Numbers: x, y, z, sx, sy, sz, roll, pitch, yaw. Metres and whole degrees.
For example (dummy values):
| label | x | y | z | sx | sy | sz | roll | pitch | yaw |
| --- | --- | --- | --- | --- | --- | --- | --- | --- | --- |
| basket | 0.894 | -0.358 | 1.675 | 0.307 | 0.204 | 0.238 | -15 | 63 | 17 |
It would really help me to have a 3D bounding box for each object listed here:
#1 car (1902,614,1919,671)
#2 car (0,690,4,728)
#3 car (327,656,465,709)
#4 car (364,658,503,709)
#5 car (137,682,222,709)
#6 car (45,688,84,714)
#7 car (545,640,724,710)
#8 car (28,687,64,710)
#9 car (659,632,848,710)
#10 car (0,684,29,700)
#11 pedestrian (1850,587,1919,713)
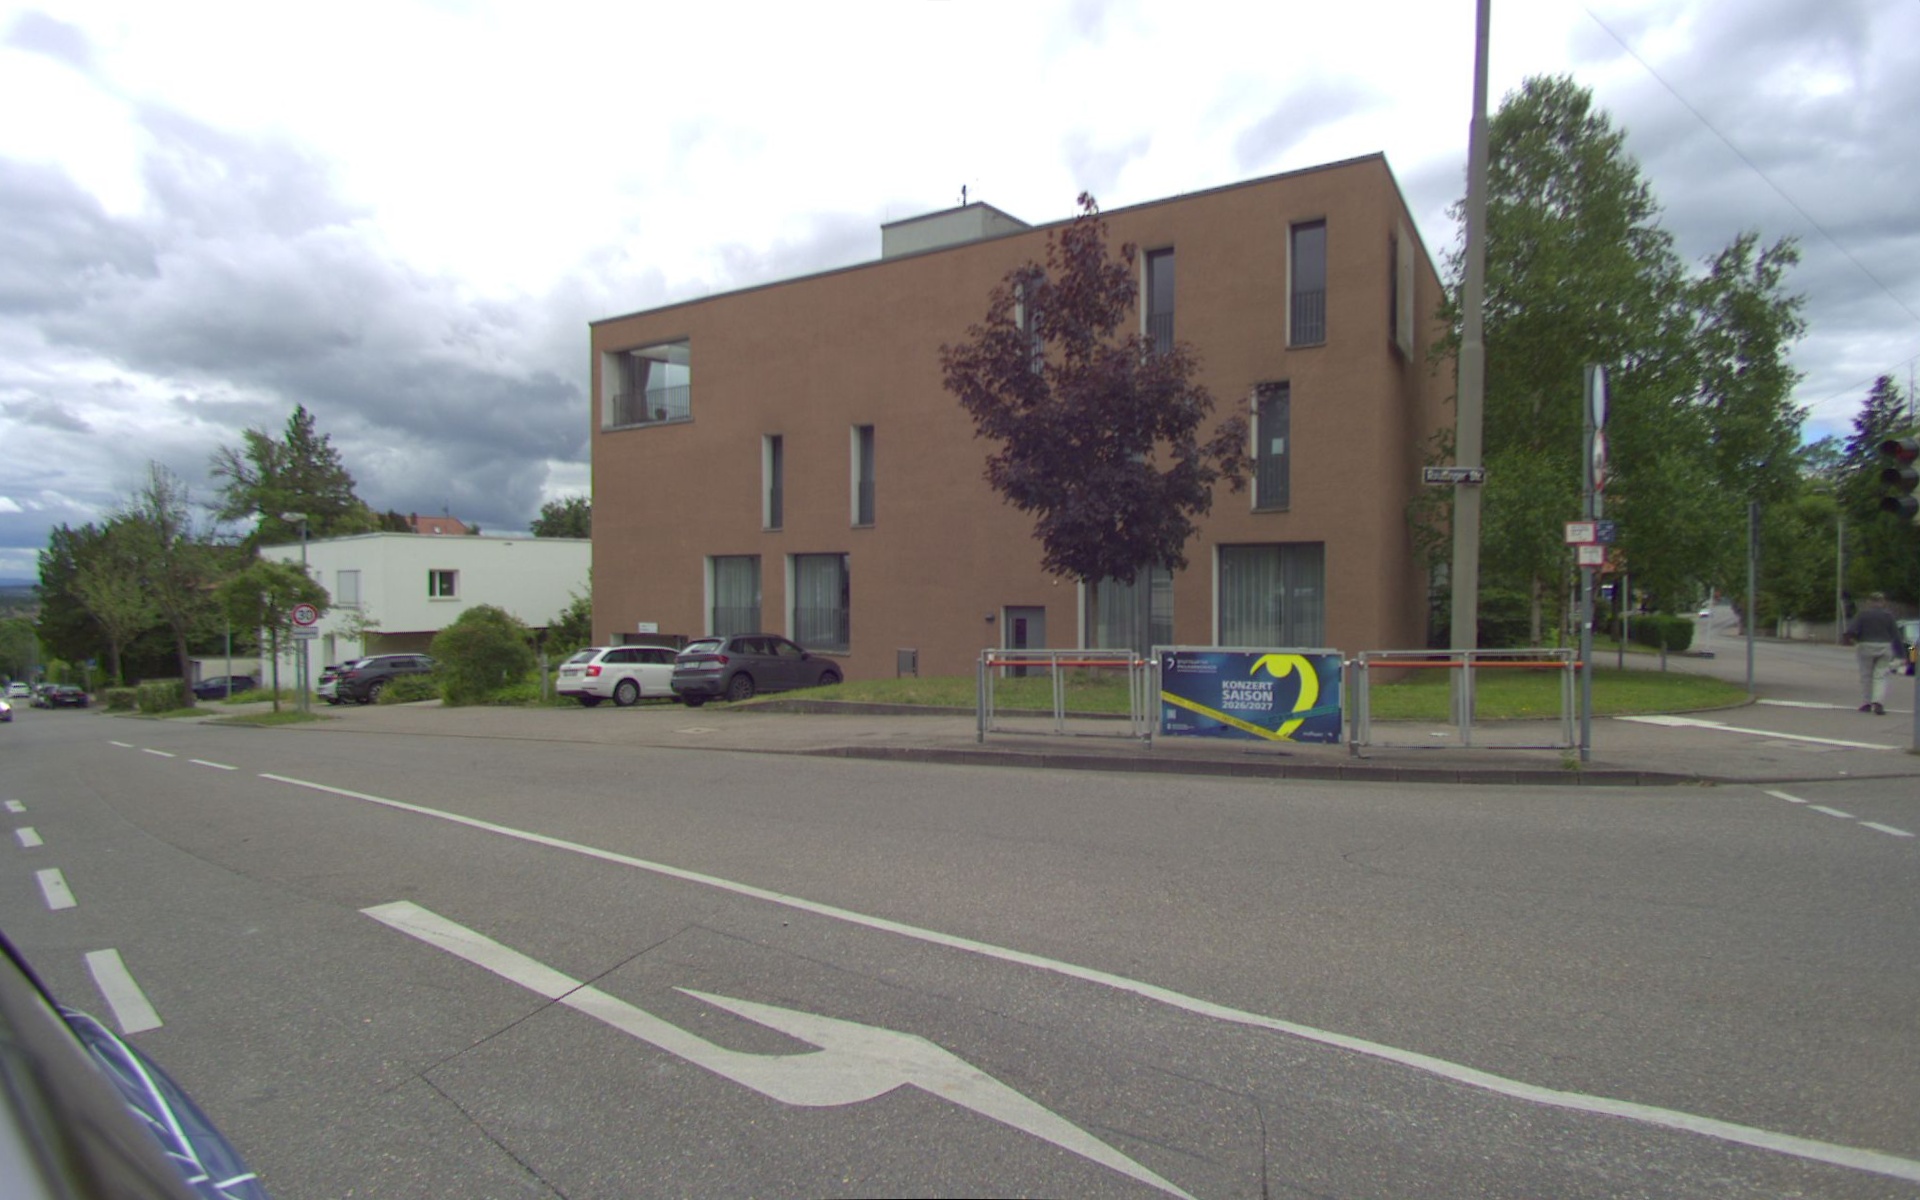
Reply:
| label | x | y | z | sx | sy | sz | roll | pitch | yaw |
| --- | --- | --- | --- | --- | --- | --- | --- | --- | --- |
| car | 26.642 | 1.143 | 26.674 | 1.825 | 1.547 | 3.957 | -1 | -2 | 31 |
| car | -40.246 | 4.493 | 41.328 | 1.701 | 1.497 | 4.003 | 0 | -4 | -44 |
| car | -19.974 | 2.893 | 35.937 | 1.793 | 1.608 | 3.943 | -6 | -4 | 43 |
| car | -18.231 | 2.873 | 35.152 | 1.727 | 1.497 | 3.943 | -6 | -4 | 43 |
| car | -46.971 | 5.729 | 60.937 | 3.939 | 1.296 | 1.665 | 0 | -4 | -43 |
| car | -54.934 | 6.161 | 62.071 | 1.638 | 1.432 | 4.003 | 0 | -4 | -44 |
| car | -7.997 | 1.823 | 25.126 | 1.724 | 1.497 | 3.950 | -5 | -4 | 37 |
| car | -61.556 | 6.619 | 68.150 | 1.638 | 1.432 | 4.371 | 0 | -4 | -44 |
| car | -4.506 | 1.545 | 22.530 | 1.724 | 1.497 | 3.950 | -5 | -4 | 37 |
| car | -95.907 | 9.284 | 102.356 | 4.362 | 1.432 | 1.861 | -3 | -3 | 38 |
| pedestrian | 12.570 | 0.667 | 13.697 | 0.683 | 1.646 | 0.730 | -3 | -3 | 38 |
